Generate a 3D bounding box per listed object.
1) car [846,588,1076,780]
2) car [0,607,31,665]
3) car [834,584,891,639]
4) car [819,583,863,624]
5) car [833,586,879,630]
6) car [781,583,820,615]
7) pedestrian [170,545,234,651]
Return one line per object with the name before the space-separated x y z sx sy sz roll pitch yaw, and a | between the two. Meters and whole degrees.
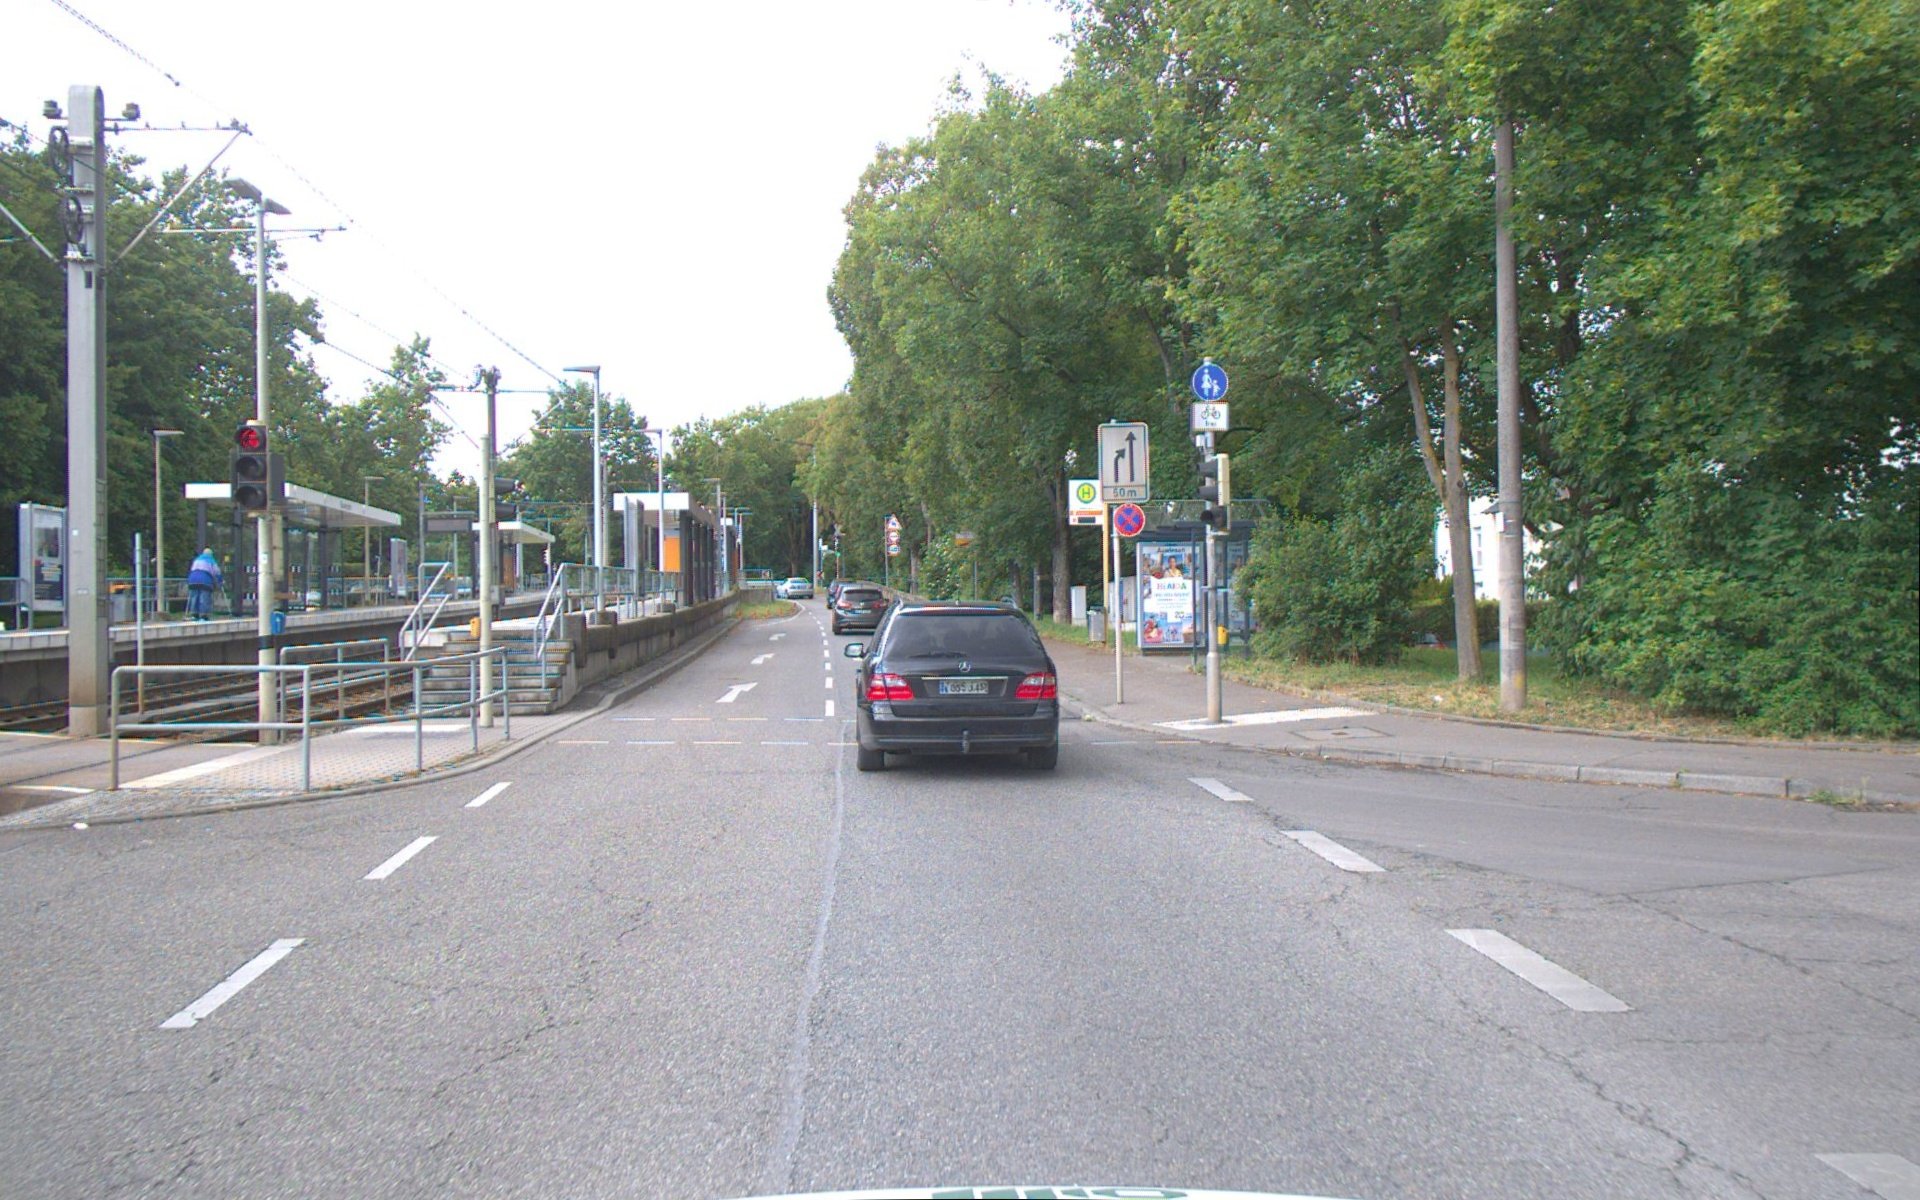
car | -0.125 0.667 15.430 1.747 1.552 3.995 0 0 -6
car | -25.072 0.947 41.407 1.654 1.471 3.994 -3 0 -6
car | -3.172 0.368 53.239 1.747 1.677 3.996 1 -1 -5
car | -5.959 0.190 82.302 1.956 1.952 3.993 1 -1 -7
car | -4.205 0.319 66.549 1.747 1.677 3.995 1 -1 -5
car | -9.945 -0.037 103.204 1.958 1.926 3.988 1 -1 -12
pedestrian | -16.215 -0.040 35.401 0.950 2.224 0.975 -1 0 -4
